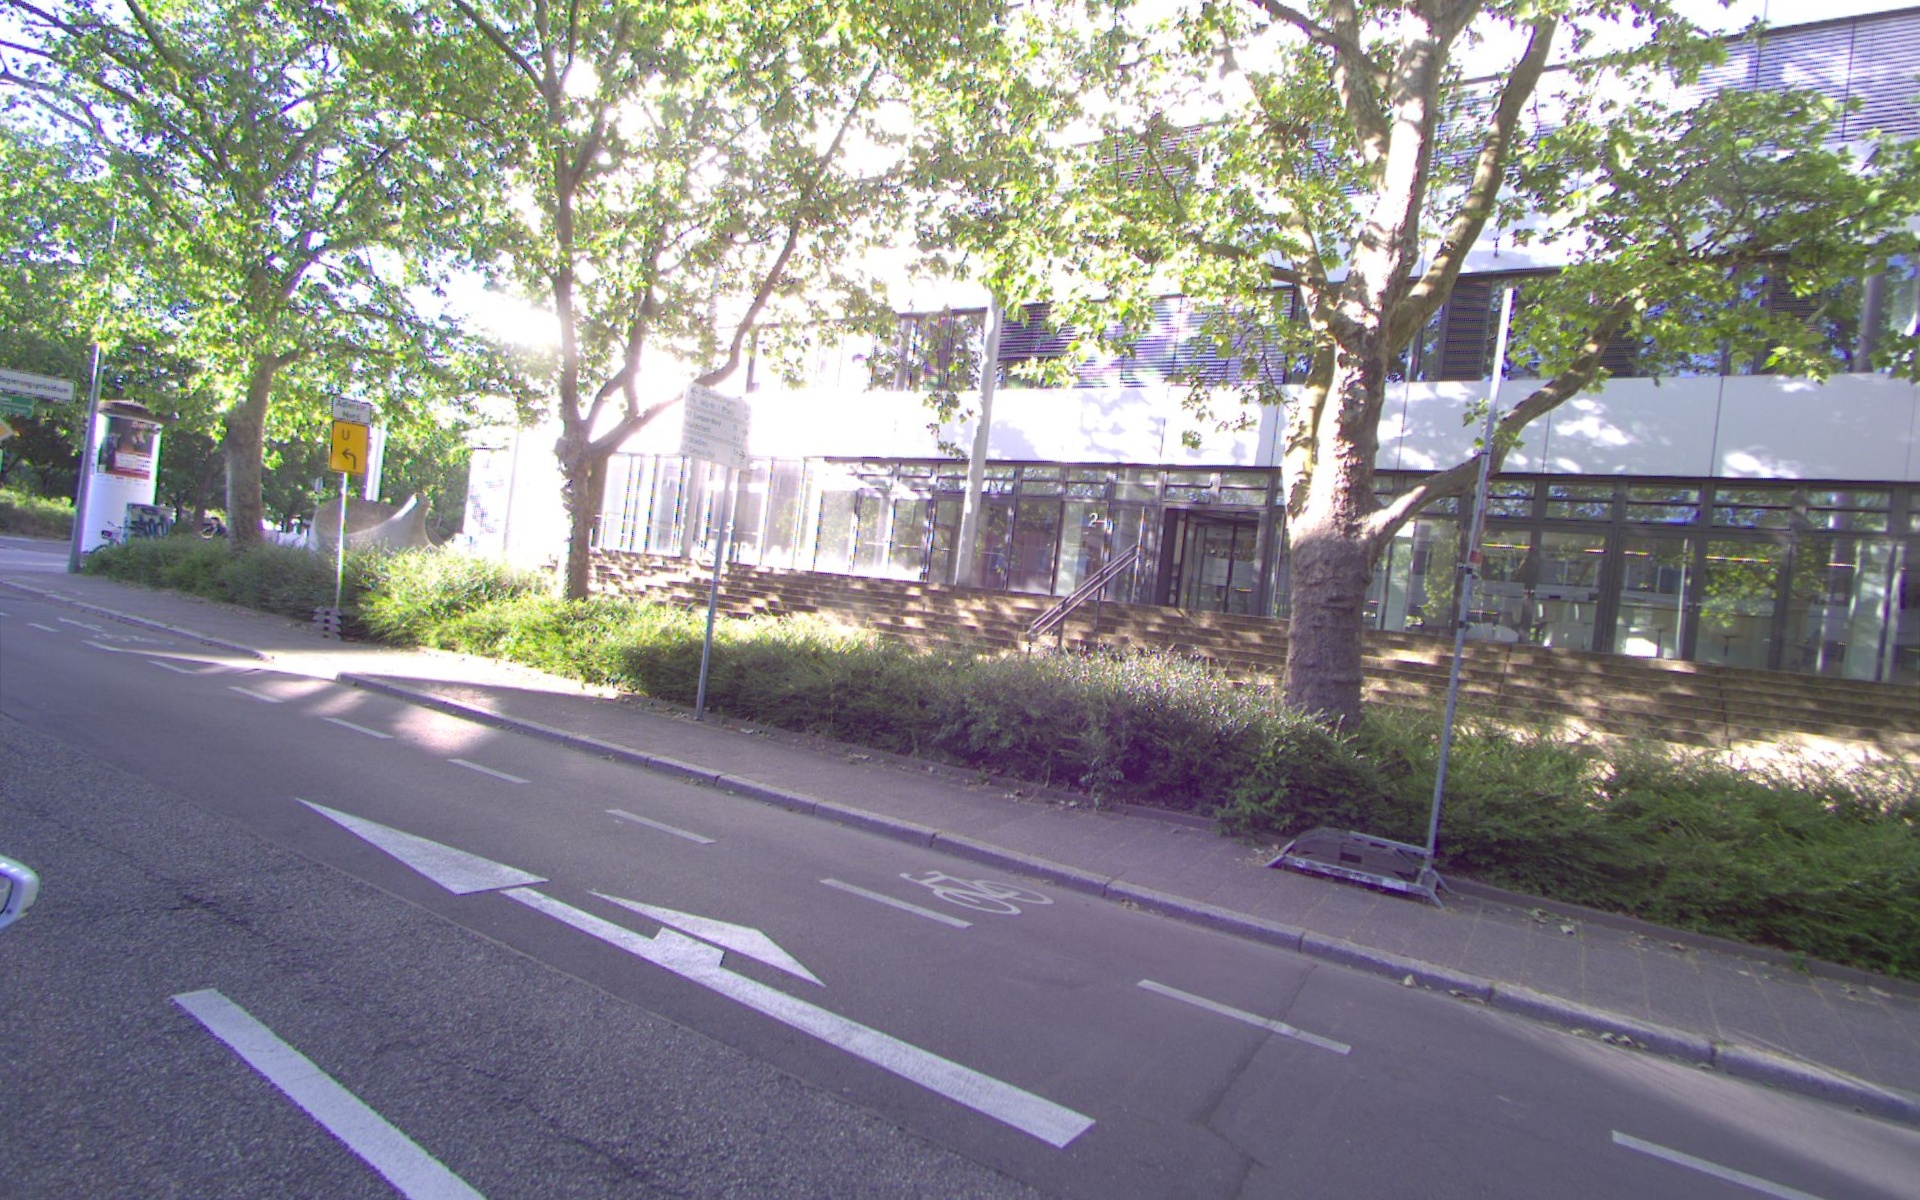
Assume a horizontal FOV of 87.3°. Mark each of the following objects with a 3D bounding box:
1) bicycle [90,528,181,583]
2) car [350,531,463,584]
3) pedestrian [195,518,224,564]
[{"bbox_3d":[-18.711,-0.998,22.846,0.529,1.049,1.418,7,-1,28],"label":"bicycle"},{"bbox_3d":[-25.544,-1.956,46.520,1.969,1.805,3.998,7,-1,37],"label":"car"},{"bbox_3d":[-31.058,-2.433,41.631,0.620,1.805,0.620,7,0,34],"label":"pedestrian"}]
